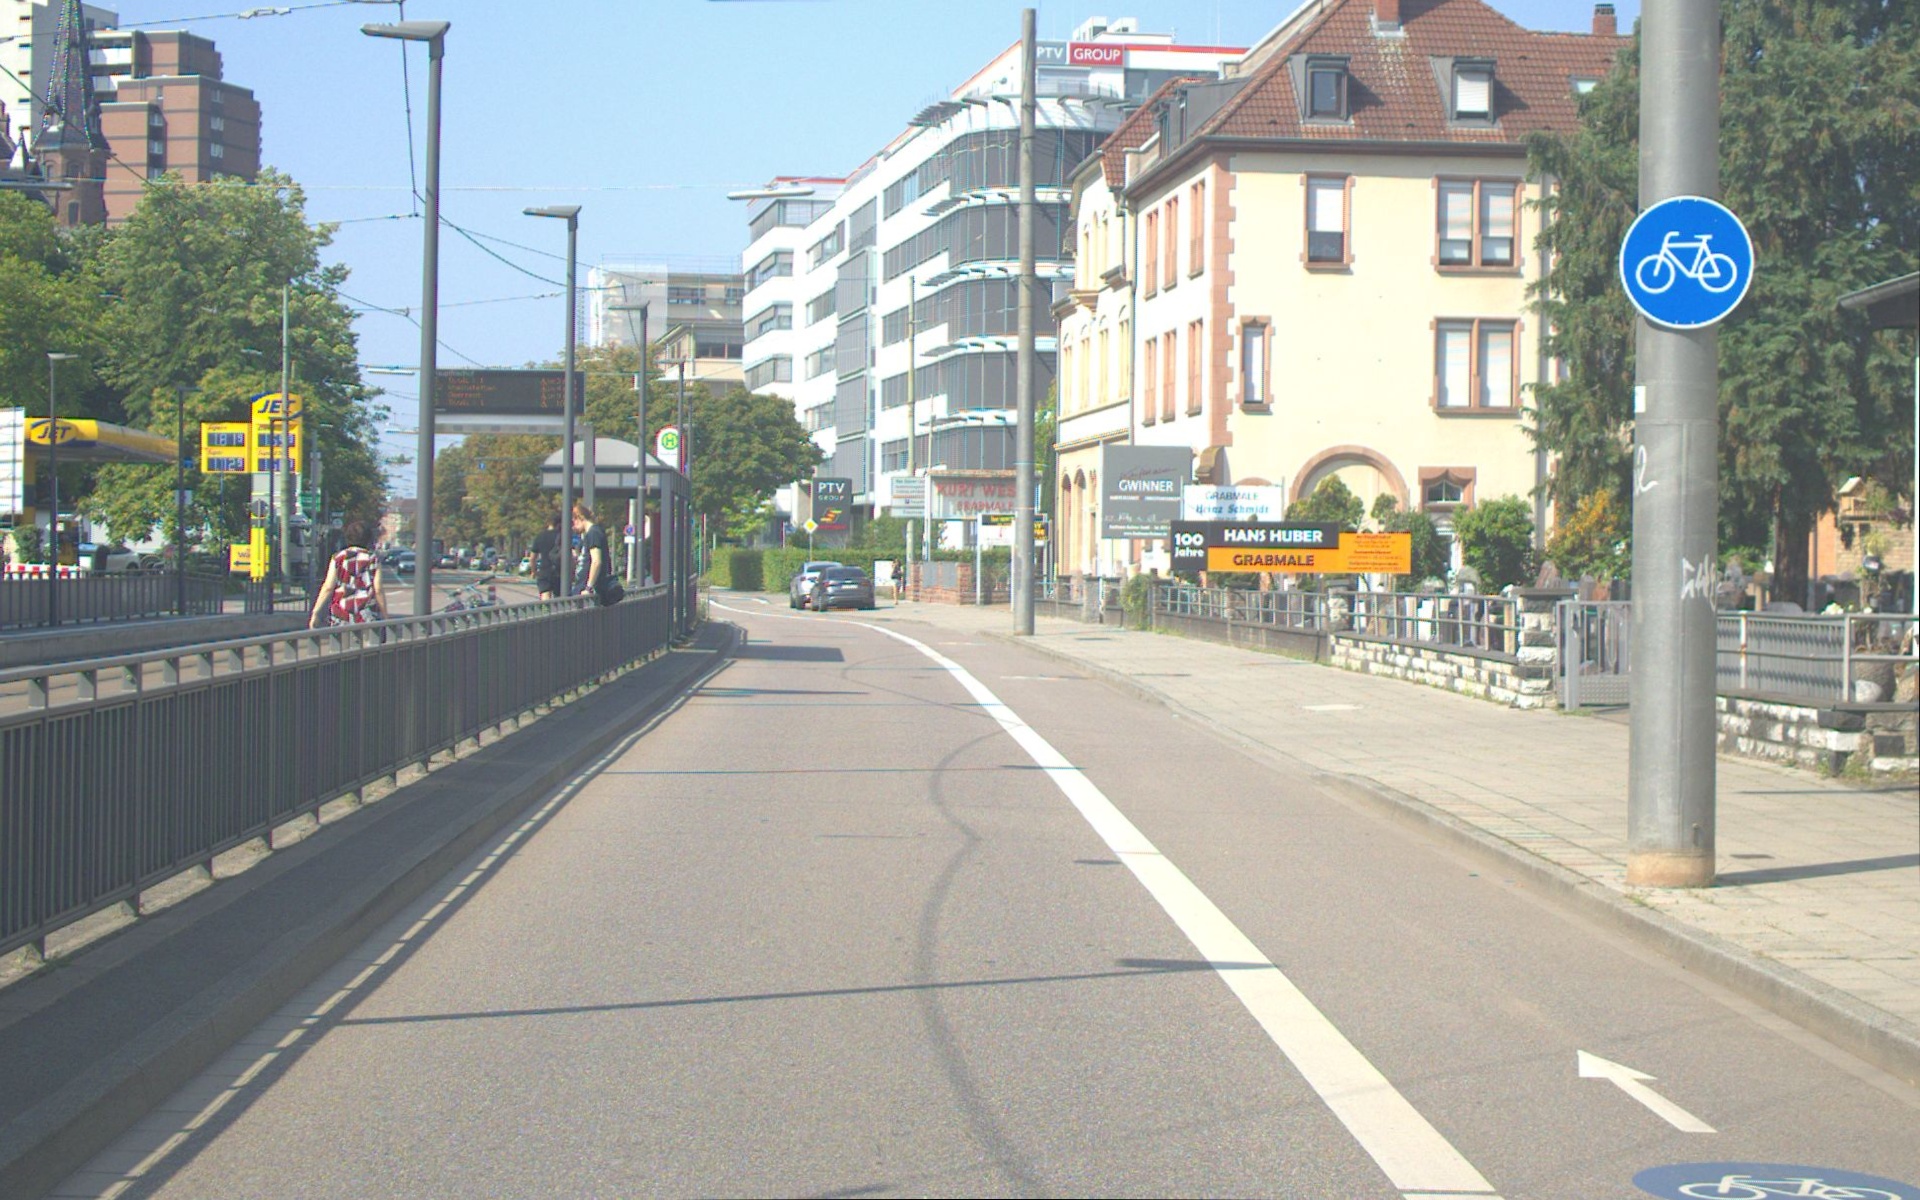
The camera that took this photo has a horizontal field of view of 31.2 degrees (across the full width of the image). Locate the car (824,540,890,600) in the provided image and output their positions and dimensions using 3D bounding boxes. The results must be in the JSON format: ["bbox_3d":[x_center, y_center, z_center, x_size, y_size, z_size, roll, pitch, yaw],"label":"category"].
[{"bbox_3d":[-3.303,-0.984,110.585,2.011,1.852,4.000,-1,1,0],"label":"car"}]

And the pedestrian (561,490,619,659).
[{"bbox_3d":[-3.773,-0.261,35.076,0.536,1.697,0.582,-1,1,-4],"label":"pedestrian"}]

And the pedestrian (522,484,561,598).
[{"bbox_3d":[-6.305,-0.893,51.813,0.536,1.697,0.582,-1,1,-4],"label":"pedestrian"}]

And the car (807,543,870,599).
[{"bbox_3d":[-4.104,-1.006,116.829,2.011,1.852,4.000,-1,1,0],"label":"car"}]

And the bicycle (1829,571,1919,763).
[{"bbox_3d":[6.195,0.414,20.780,0.731,1.129,2.840,-3,1,-9],"label":"bicycle"}]

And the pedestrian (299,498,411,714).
[{"bbox_3d":[-4.844,0.041,27.570,0.720,1.697,0.884,-1,1,-1],"label":"pedestrian"}]
